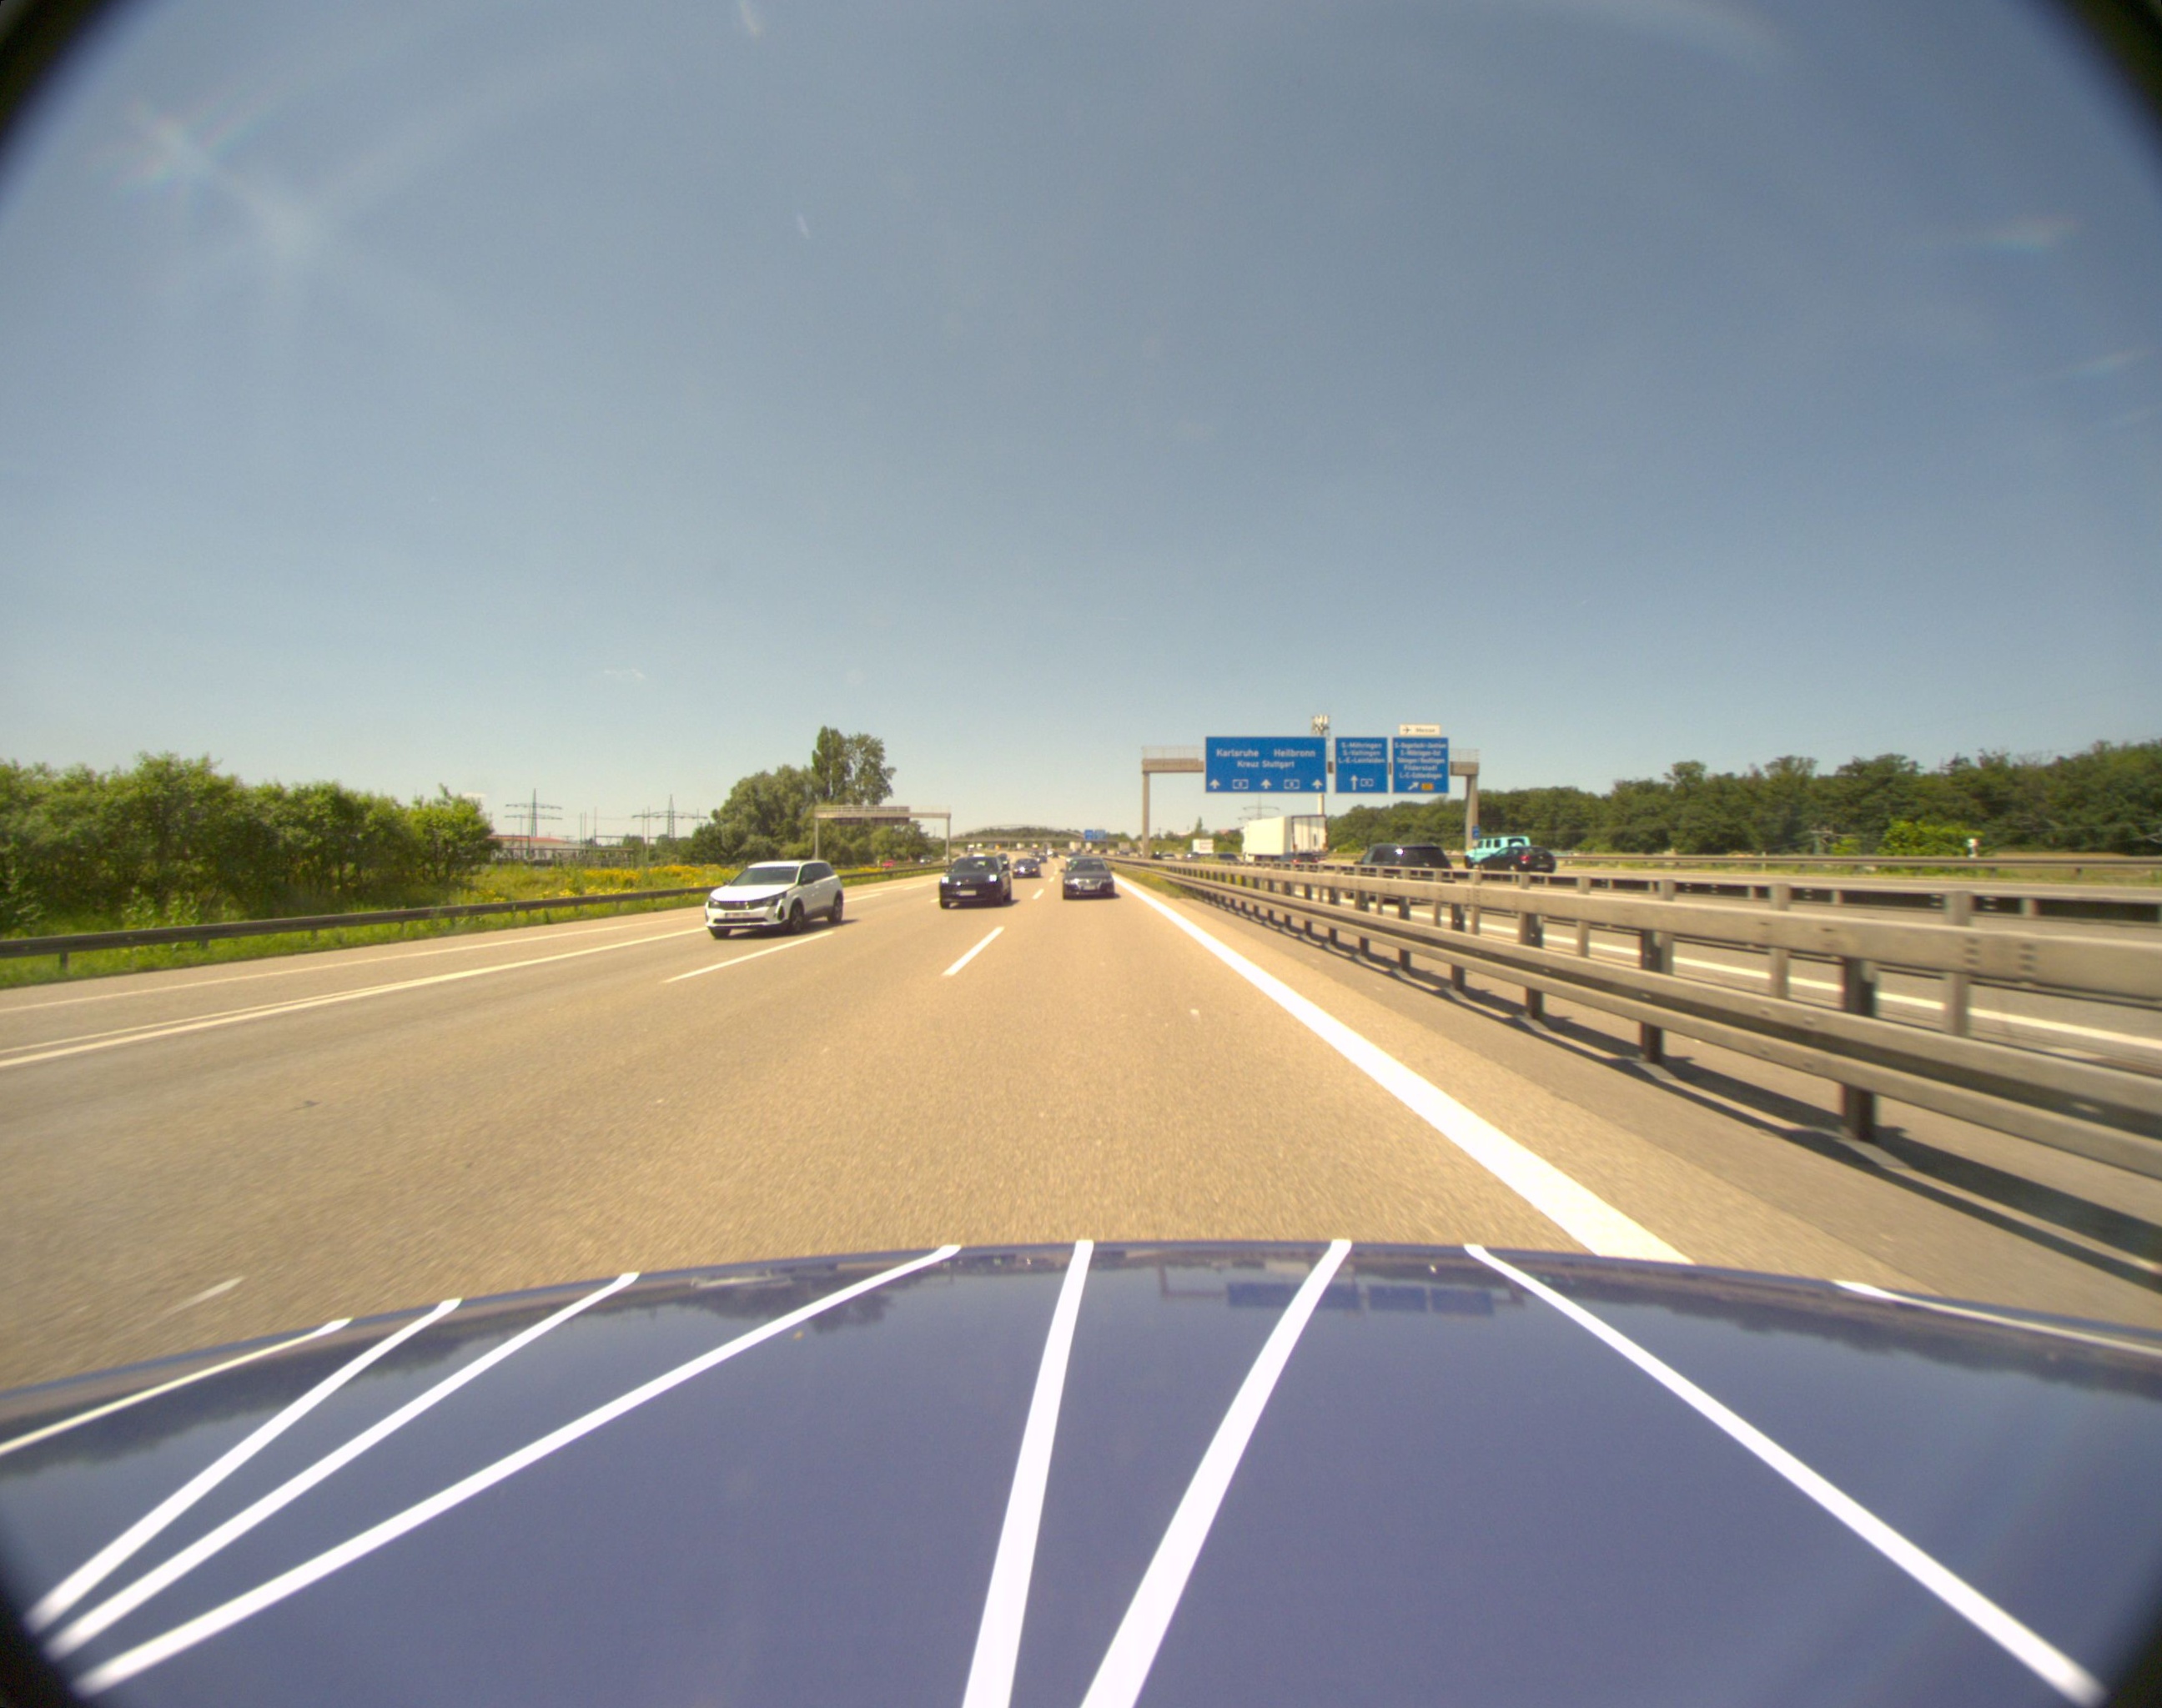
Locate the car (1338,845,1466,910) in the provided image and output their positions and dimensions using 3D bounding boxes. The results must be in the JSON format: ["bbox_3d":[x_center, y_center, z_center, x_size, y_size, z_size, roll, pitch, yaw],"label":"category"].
[{"bbox_3d":[9.214,0.620,22.292,1.760,1.659,4.697,-2,0,0],"label":"car"}]

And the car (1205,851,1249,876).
[{"bbox_3d":[9.246,0.568,48.377,1.846,1.452,4.996,-2,0,0],"label":"car"}]

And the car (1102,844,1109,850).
[{"bbox_3d":[7.314,-2.118,230.830,1.852,1.646,4.908,-2,1,-1],"label":"car"}]

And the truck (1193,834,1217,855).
[{"bbox_3d":[19.434,-1.528,119.753,2.326,3.149,8.111,-2,0,-1],"label":"truck"}]

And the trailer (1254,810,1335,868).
[{"bbox_3d":[16.966,-1.208,61.564,3.231,4.169,11.406,-2,1,0],"label":"trailer"}]

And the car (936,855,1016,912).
[{"bbox_3d":[-3.323,0.888,24.878,1.931,1.586,4.131,-2,1,1],"label":"car"}]

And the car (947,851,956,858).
[{"bbox_3d":[-31.565,0.217,185.245,1.704,1.566,4.127,-2,1,-1],"label":"car"}]

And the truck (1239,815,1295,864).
[{"bbox_3d":[16.979,-1.301,69.988,3.256,4.185,7.692,-2,0,0],"label":"truck"}]

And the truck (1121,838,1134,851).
[{"bbox_3d":[11.542,-2.428,189.610,2.382,3.259,7.657,-2,1,-3],"label":"truck"}]

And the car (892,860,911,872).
[{"bbox_3d":[-26.398,1.680,111.854,1.704,1.566,4.127,-2,1,0],"label":"car"}]

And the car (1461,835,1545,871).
[{"bbox_3d":[24.407,-0.061,44.230,2.021,1.903,5.161,-2,0,0],"label":"car"}]

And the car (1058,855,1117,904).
[{"bbox_3d":[0.256,0.853,27.620,1.931,1.499,4.390,-2,1,1],"label":"car"}]

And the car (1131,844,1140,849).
[{"bbox_3d":[16.044,-2.190,222.807,1.852,1.523,4.221,-2,1,-4],"label":"car"}]

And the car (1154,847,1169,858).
[{"bbox_3d":[12.160,-0.266,114.711,1.747,1.552,3.999,-2,0,-1],"label":"car"}]

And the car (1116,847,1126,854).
[{"bbox_3d":[8.685,-0.815,165.612,1.795,1.455,4.858,-2,0,-1],"label":"car"}]

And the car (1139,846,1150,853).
[{"bbox_3d":[13.255,-0.937,159.063,1.910,1.412,3.999,-2,0,-1],"label":"car"}]

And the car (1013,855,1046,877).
[{"bbox_3d":[-3.562,0.814,53.273,1.931,1.390,4.117,-2,1,1],"label":"car"}]

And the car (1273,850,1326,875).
[{"bbox_3d":[13.403,0.489,46.846,1.846,1.452,4.996,-2,0,0],"label":"car"}]

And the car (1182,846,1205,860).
[{"bbox_3d":[13.207,-0.154,89.382,1.747,1.500,5.101,-2,0,-1],"label":"car"}]

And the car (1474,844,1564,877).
[{"bbox_3d":[20.611,0.301,36.012,1.700,1.417,4.455,-2,0,0],"label":"car"}]

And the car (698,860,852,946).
[{"bbox_3d":[-6.981,1.023,17.927,1.748,1.582,4.618,-2,1,0],"label":"car"}]

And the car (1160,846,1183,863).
[{"bbox_3d":[9.277,0.032,78.451,1.736,1.579,5.355,-2,0,0],"label":"car"}]

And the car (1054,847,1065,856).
[{"bbox_3d":[-4.802,-0.552,170.960,2.000,1.849,3.996,-2,1,-8],"label":"car"}]

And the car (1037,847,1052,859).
[{"bbox_3d":[-5.829,-0.119,121.635,1.924,1.762,4.001,-2,1,5],"label":"car"}]

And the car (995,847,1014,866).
[{"bbox_3d":[-8.315,0.266,82.928,1.809,1.908,4.293,-2,1,-2],"label":"car"}]

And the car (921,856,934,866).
[{"bbox_3d":[-28.984,1.328,143.617,1.704,1.566,4.127,-2,1,0],"label":"car"}]
